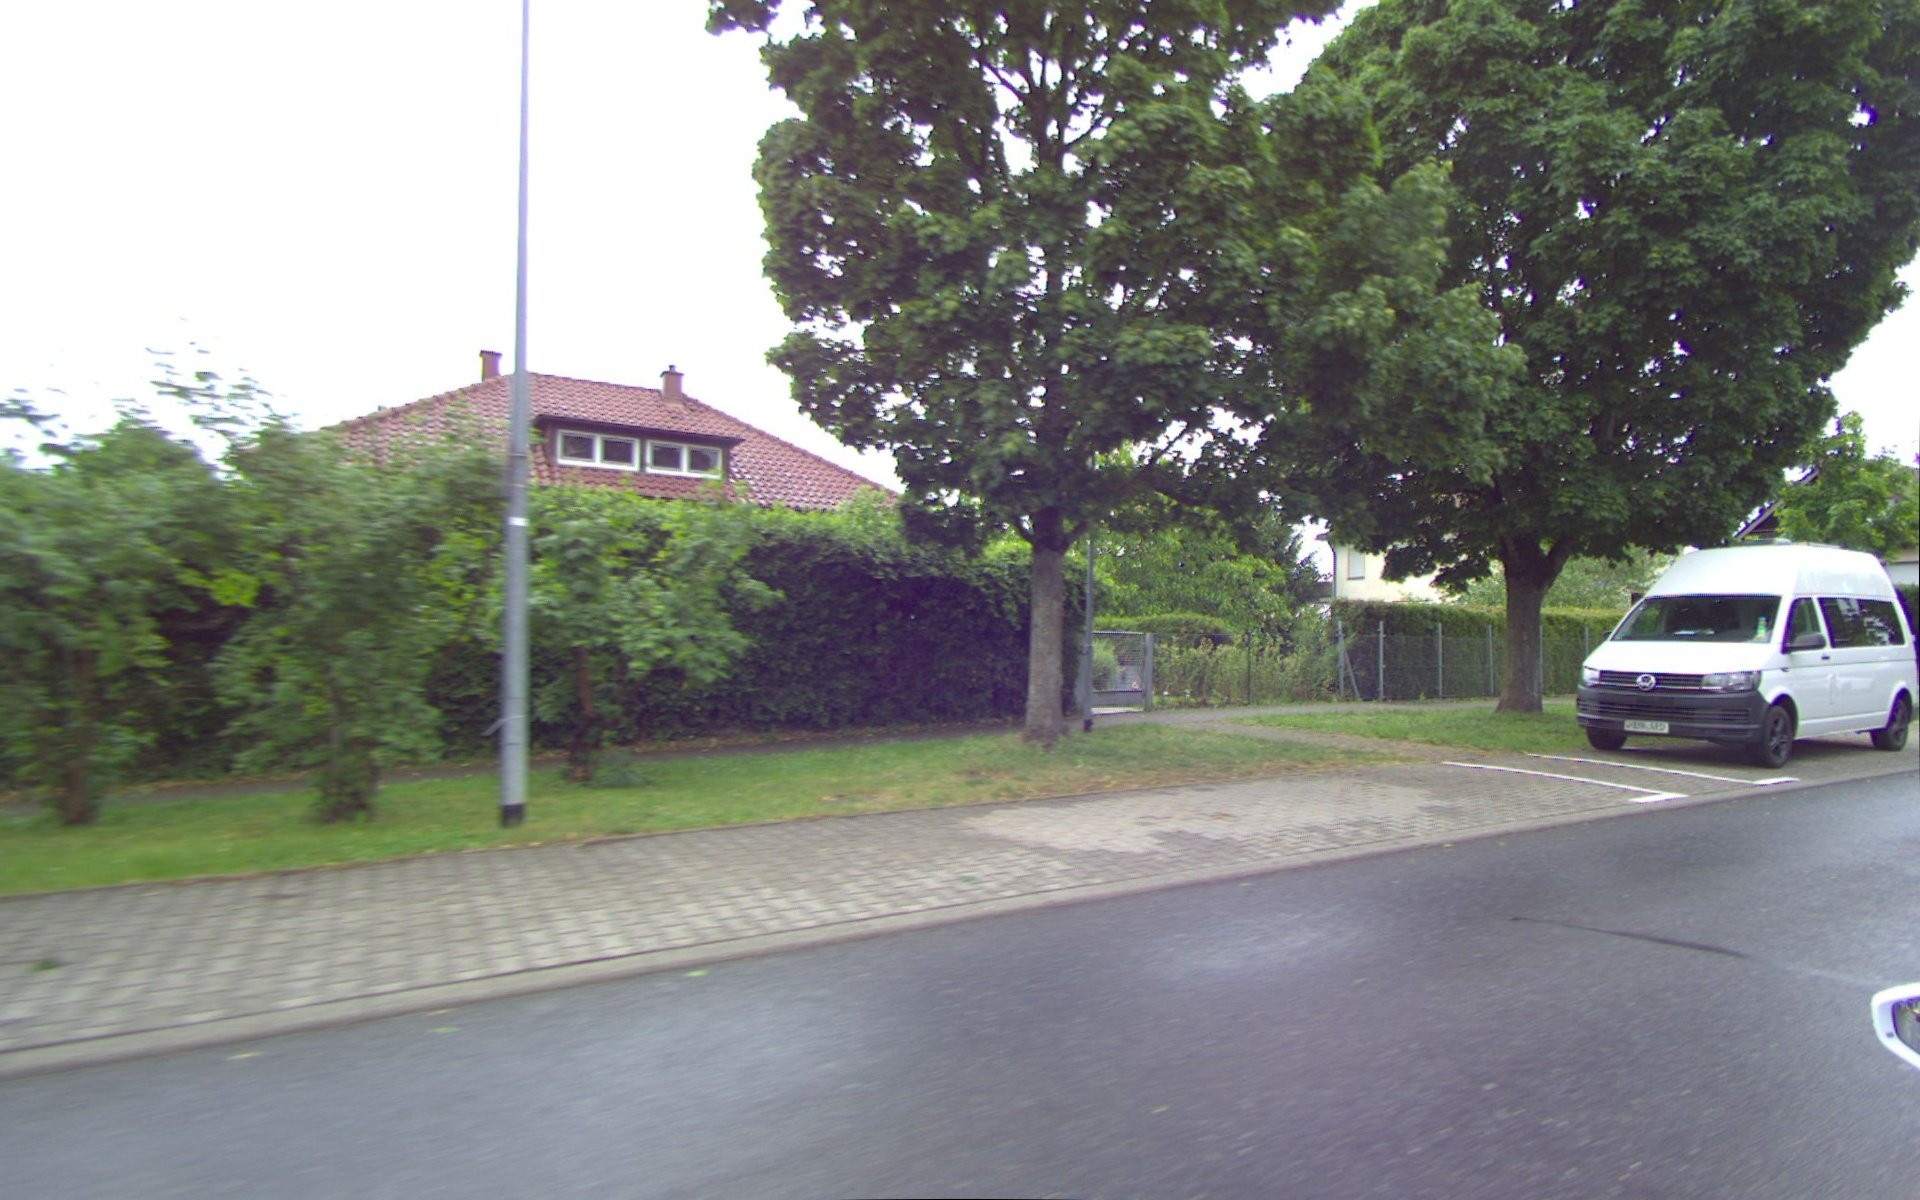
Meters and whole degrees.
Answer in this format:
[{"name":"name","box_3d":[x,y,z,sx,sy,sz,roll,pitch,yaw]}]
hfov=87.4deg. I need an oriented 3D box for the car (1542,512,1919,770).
[{"name":"car","box_3d":[9.543,0.490,12.288,5.173,2.595,1.983,2,-2,-31]}]
